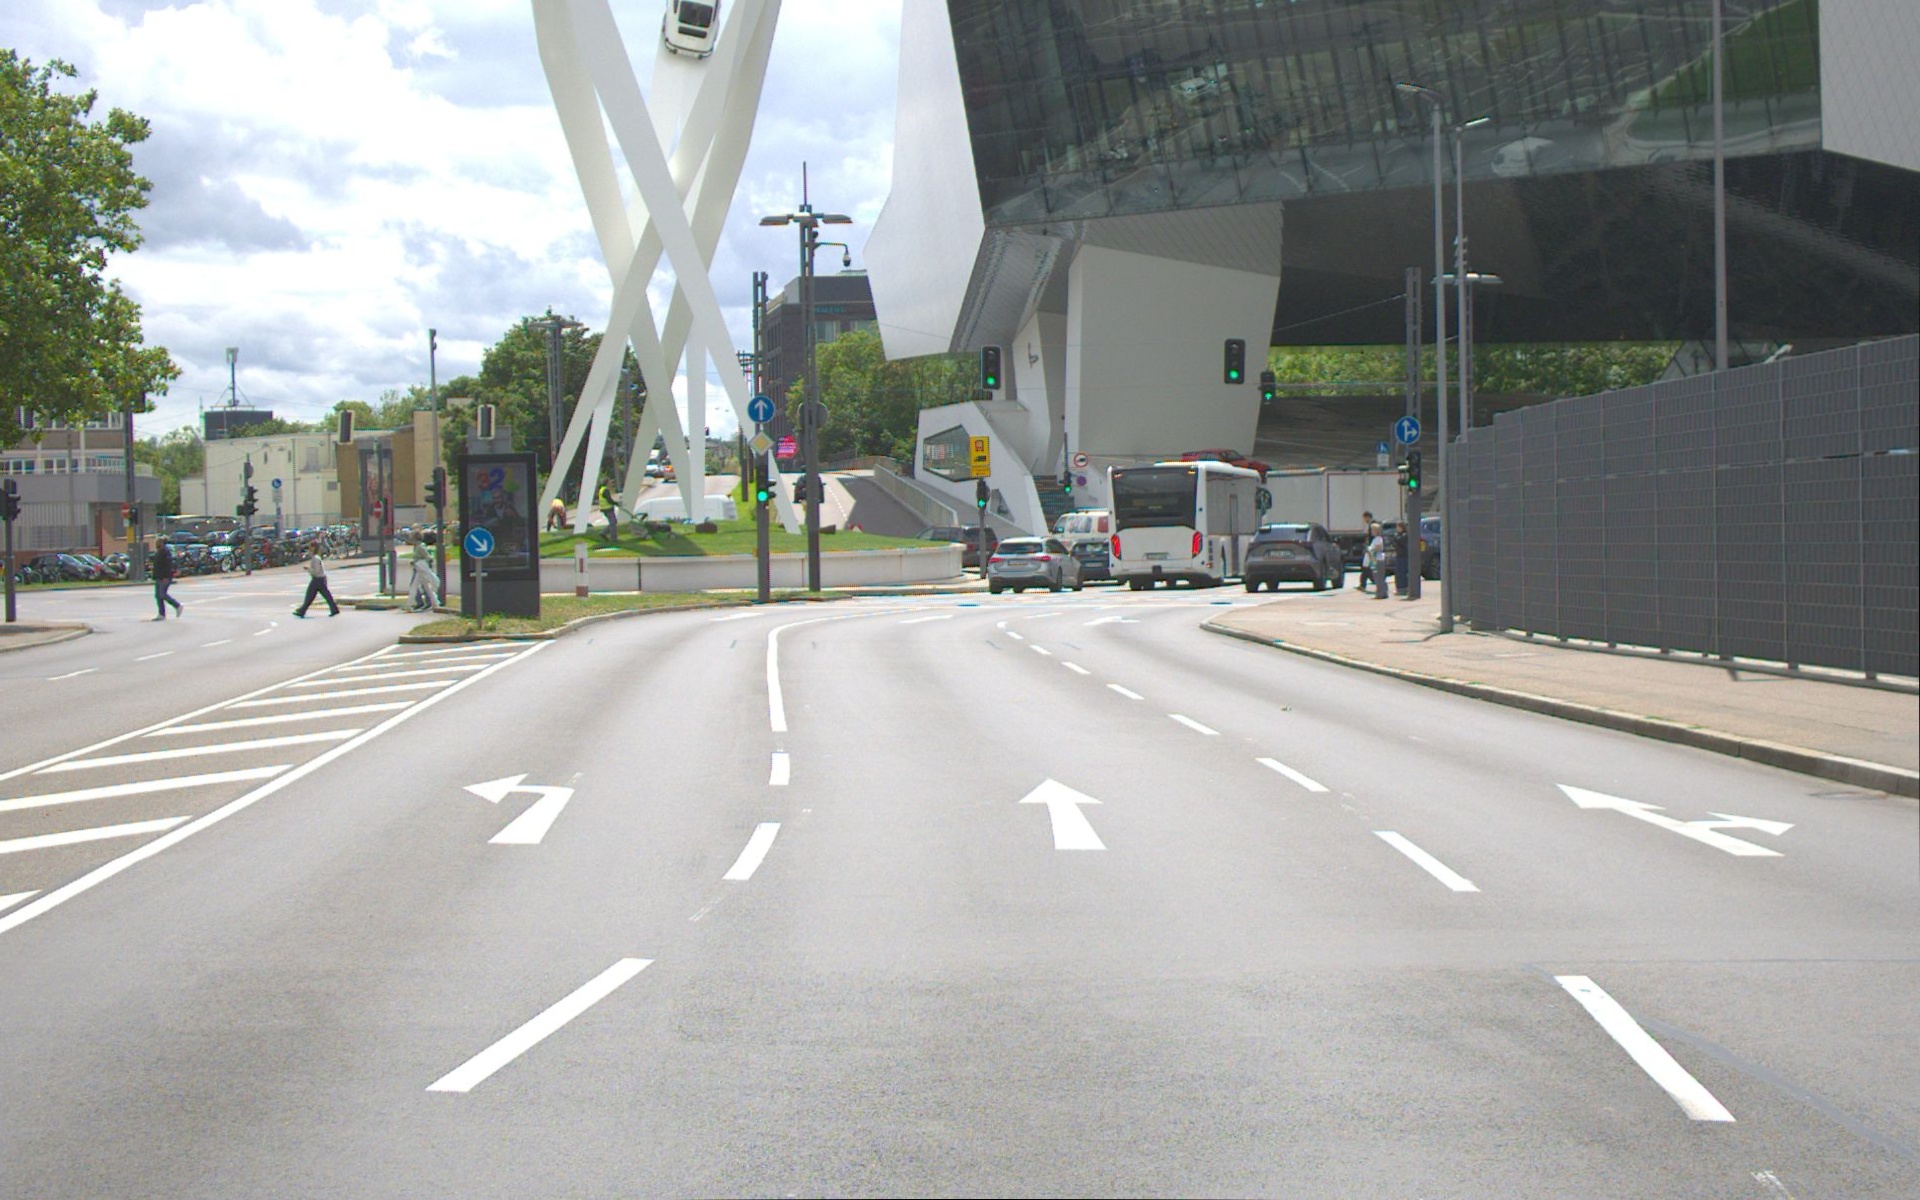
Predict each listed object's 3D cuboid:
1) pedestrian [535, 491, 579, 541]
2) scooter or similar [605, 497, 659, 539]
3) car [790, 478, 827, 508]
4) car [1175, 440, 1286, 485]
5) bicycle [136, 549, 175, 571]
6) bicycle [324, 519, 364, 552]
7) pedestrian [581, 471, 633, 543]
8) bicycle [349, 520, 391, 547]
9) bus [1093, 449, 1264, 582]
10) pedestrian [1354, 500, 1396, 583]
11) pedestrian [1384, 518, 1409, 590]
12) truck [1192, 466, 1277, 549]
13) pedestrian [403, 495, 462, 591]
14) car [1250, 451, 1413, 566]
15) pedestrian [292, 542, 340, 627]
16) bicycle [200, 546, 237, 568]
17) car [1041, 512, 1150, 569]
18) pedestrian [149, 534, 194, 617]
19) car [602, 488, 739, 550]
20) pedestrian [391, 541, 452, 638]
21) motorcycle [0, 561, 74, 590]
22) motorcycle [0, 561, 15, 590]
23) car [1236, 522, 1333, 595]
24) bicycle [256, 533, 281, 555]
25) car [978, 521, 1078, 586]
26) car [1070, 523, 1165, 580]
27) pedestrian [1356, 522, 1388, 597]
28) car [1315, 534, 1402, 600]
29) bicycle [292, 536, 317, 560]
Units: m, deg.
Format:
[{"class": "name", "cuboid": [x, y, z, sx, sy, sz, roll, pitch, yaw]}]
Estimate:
[{"class": "pedestrian", "cuboid": [-12.294, -2.559, 104.879, 0.853, 1.402, 0.964, -7, -2, 19]}, {"class": "scooter or similar", "cuboid": [-8.908, -2.231, 93.376, 1.400, 1.022, 0.550, -3, 7, -3]}, {"class": "car", "cuboid": [-8.599, -6.078, 195.753, 1.993, 1.630, 4.656, 0, 3, -1]}, {"class": "car", "cuboid": [11.675, -5.950, 148.600, 4.510, 1.390, 1.995, 10, 12, 43]}, {"class": "bicycle", "cuboid": [-31.835, -1.599, 136.095, 1.608, 0.863, 0.492, 1, 0, 31]}, {"class": "bicycle", "cuboid": [-25.833, -2.709, 144.271, 1.605, 1.378, 0.493, 0, 0, -3]}, {"class": "pedestrian", "cuboid": [-9.576, -2.530, 93.248, 1.281, 1.810, 0.987, -4, 5, -6]}, {"class": "bicycle", "cuboid": [-26.058, -2.951, 151.804, 1.737, 1.178, 0.670, 0, 2, -4]}, {"class": "bus", "cuboid": [6.048, -2.170, 92.798, 3.073, 3.350, 12.217, 0, 0, 11]}, {"class": "pedestrian", "cuboid": [9.405, -1.327, 77.857, 0.659, 1.860, 0.793, 0, 0, -17]}, {"class": "pedestrian", "cuboid": [9.778, -1.024, 76.977, 0.464, 1.610, 0.663, 0, 0, 0]}, {"class": "truck", "cuboid": [8.667, -2.910, 108.825, 2.207, 2.507, 5.133, 0, 0, -1]}, {"class": "pedestrian", "cuboid": [-11.401, -1.224, 74.307, 0.953, 2.048, 0.950, 1, 0, 16]}, {"class": "car", "cuboid": [11.848, -2.876, 110.621, 3.335, 3.492, 9.343, 0, 0, -6]}, {"class": "pedestrian", "cuboid": [-13.456, -0.325, 71.828, 0.863, 1.767, 1.036, 0, 0, -16]}, {"class": "bicycle", "cuboid": [-30.212, -1.758, 140.100, 0.492, 0.863, 1.608, 1, 0, 32]}, {"class": "car", "cuboid": [4.632, -2.022, 117.912, 1.993, 1.897, 4.001, 0, 0, -28]}, {"class": "pedestrian", "cuboid": [-17.092, -0.531, 74.502, 0.863, 1.767, 1.036, 0, 0, -16]}, {"class": "car", "cuboid": [-10.368, -2.900, 123.372, 4.641, 2.163, 2.000, 0, 0, 5]}, {"class": "pedestrian", "cuboid": [-11.459, -0.218, 73.207, 0.953, 2.048, 0.950, 1, 0, 16]}, {"class": "motorcycle", "cuboid": [-38.438, -1.013, 143.102, 2.905, 1.192, 0.919, 1, 0, 16]}, {"class": "motorcycle", "cuboid": [-39.902, -1.000, 139.633, 2.905, 1.192, 0.919, 1, 0, 16]}, {"class": "car", "cuboid": [7.762, -1.006, 81.904, 1.994, 1.631, 3.999, 0, 2, 10]}, {"class": "bicycle", "cuboid": [-29.393, -2.401, 146.125, 0.491, 0.863, 1.611, -1, 3, 8]}, {"class": "car", "cuboid": [1.784, -1.188, 89.012, 1.994, 1.631, 3.998, 0, 0, 10]}, {"class": "car", "cuboid": [4.738, -1.435, 102.651, 1.995, 1.631, 3.997, 1, 0, 15]}, {"class": "pedestrian", "cuboid": [8.870, -0.867, 74.051, 0.659, 1.602, 0.822, 0, 0, 8]}, {"class": "car", "cuboid": [10.151, -0.832, 87.368, 1.994, 1.631, 3.998, 0, 0, 10]}, {"class": "bicycle", "cuboid": [-26.699, -2.114, 140.029, 0.491, 0.863, 1.611, -1, 4, 8]}]
